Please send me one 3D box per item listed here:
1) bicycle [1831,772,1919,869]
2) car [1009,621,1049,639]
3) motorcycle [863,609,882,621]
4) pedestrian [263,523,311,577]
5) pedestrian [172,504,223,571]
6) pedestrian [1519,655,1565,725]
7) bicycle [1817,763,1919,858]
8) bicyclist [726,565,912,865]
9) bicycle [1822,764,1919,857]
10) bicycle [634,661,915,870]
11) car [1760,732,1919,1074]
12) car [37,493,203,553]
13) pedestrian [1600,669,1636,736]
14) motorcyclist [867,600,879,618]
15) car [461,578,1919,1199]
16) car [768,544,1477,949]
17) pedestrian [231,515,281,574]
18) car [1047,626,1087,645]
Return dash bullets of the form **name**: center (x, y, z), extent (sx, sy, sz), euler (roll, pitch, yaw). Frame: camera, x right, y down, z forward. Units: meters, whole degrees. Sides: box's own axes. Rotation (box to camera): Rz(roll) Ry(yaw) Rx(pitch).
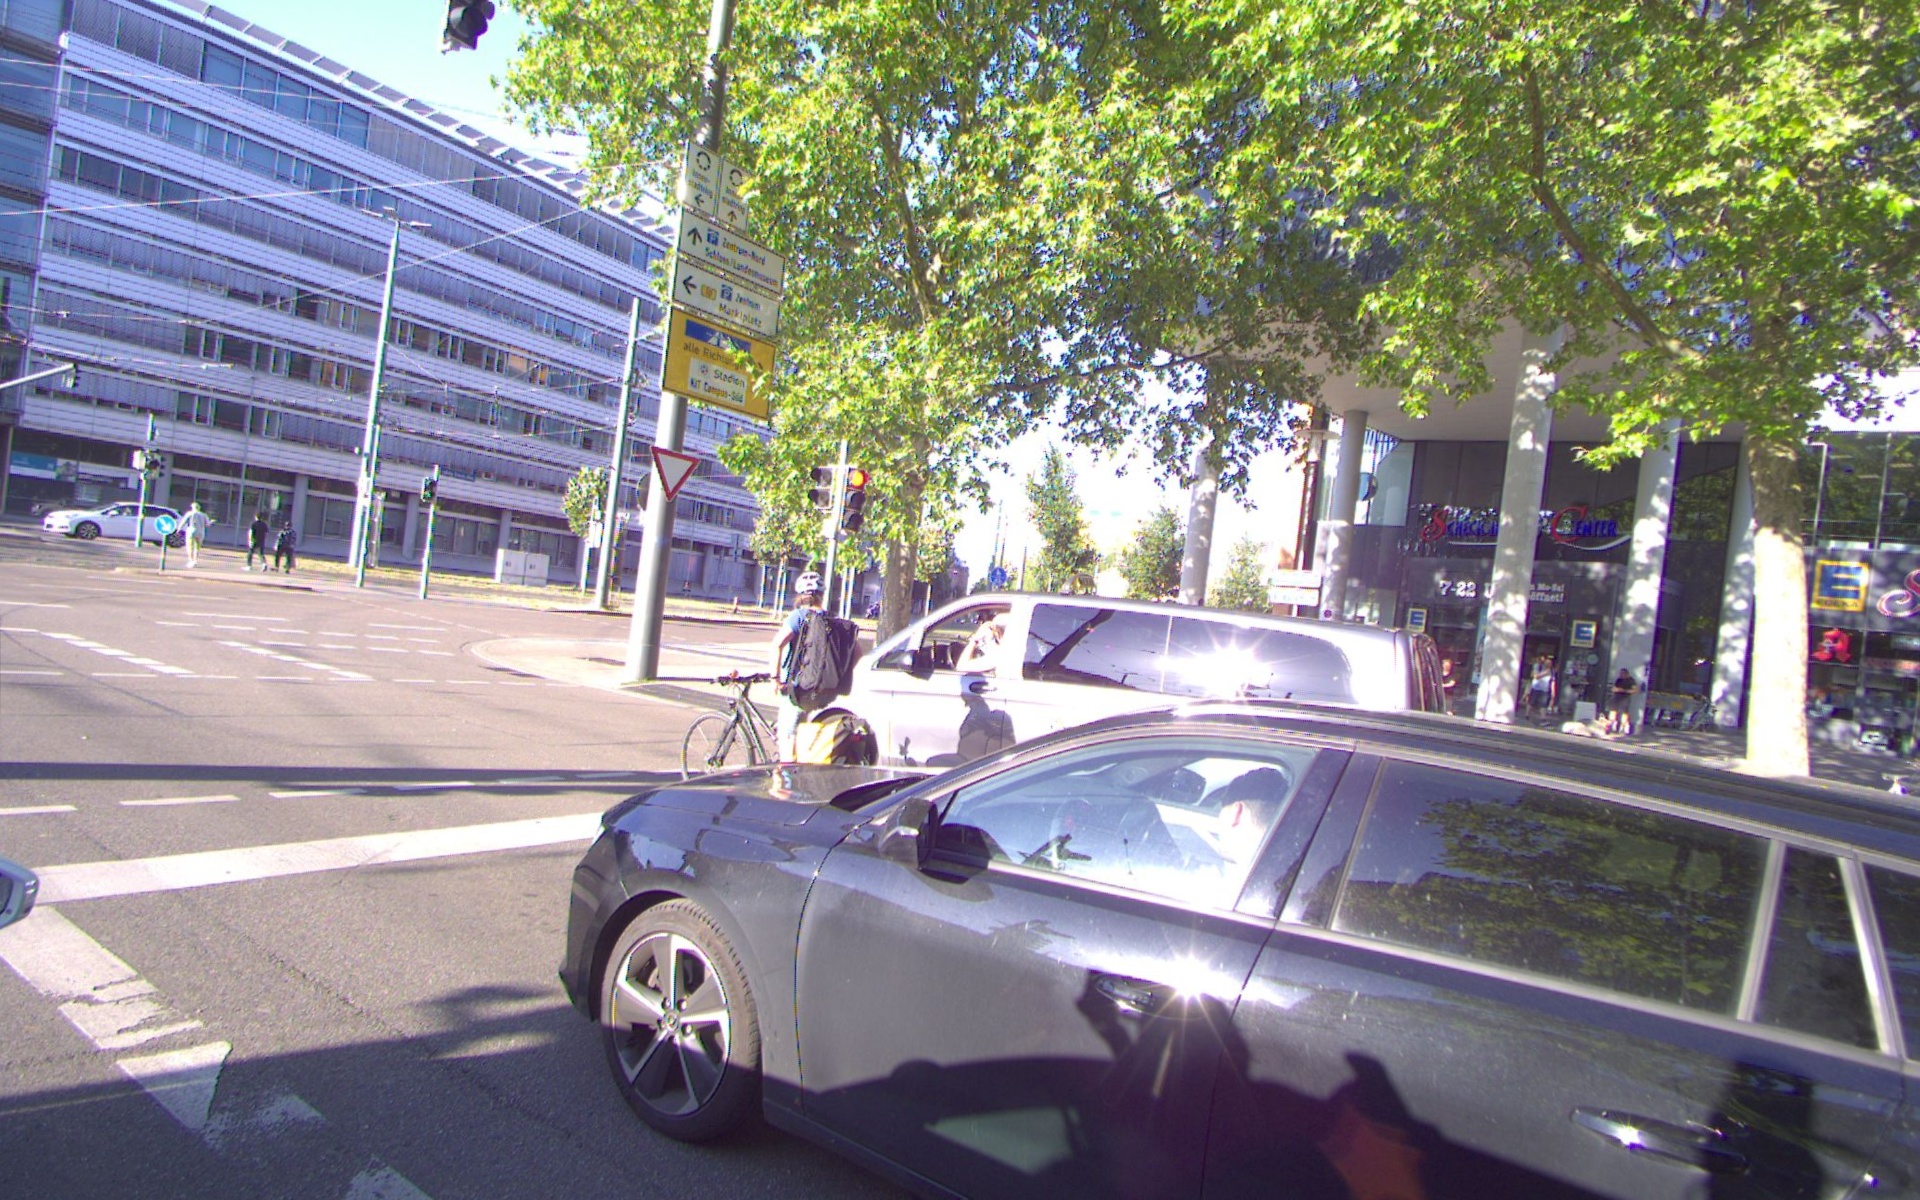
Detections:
- **bicycle**: center (10.533, 2.477, 11.109), extent (1.233, 0.898, 0.462), euler (7, 1, 32)
- **car**: center (6.509, 2.818, 94.793), extent (1.758, 1.411, 3.984), euler (7, 1, 37)
- **motorcycle**: center (-6.754, 1.171, 77.507), extent (0.460, 0.820, 1.568), euler (7, 0, 36)
- **pedestrian**: center (-21.628, -1.611, 32.350), extent (0.883, 1.583, 0.947), euler (7, 1, 39)
- **pedestrian**: center (-22.072, -1.806, 29.137), extent (0.859, 1.811, 0.863), euler (7, 1, 39)
- **pedestrian**: center (15.905, 2.450, 27.518), extent (0.591, 1.805, 0.887), euler (7, 1, 7)
- **bicycle**: center (11.192, 2.543, 12.095), extent (0.437, 0.930, 1.210), euler (6, 0, -39)
- **bicyclist**: center (-0.892, 0.695, 6.398), extent (0.766, 1.714, 0.632), euler (7, 1, 32)
- **bicycle**: center (11.490, 2.605, 12.368), extent (0.460, 0.938, 1.210), euler (6, 0, -39)
- **bicycle**: center (-1.258, 1.025, 6.638), extent (1.839, 0.993, 0.561), euler (7, 1, 32)
- **car**: center (6.541, 1.735, 4.596), extent (4.181, 1.503, 1.741), euler (7, 0, 31)
- **car**: center (-30.765, -2.802, 36.961), extent (1.733, 1.506, 4.297), euler (7, 0, 34)
- **pedestrian**: center (17.496, 2.734, 26.745), extent (0.598, 1.707, 0.511), euler (6, 1, -41)
- **motorcyclist**: center (-6.713, 0.705, 77.495), extent (0.452, 1.291, 0.712), euler (7, 1, 36)
- **car**: center (0.758, 0.937, 2.766), extent (4.199, 1.431, 1.742), euler (7, -2, 32)
- **car**: center (1.116, 0.850, 7.967), extent (5.012, 2.004, 1.939), euler (7, 0, 31)
- **pedestrian**: center (-22.251, -1.754, 31.801), extent (1.020, 1.706, 0.912), euler (7, 1, 39)
- **car**: center (9.882, 3.294, 92.735), extent (1.758, 1.415, 4.157), euler (7, 0, 37)
